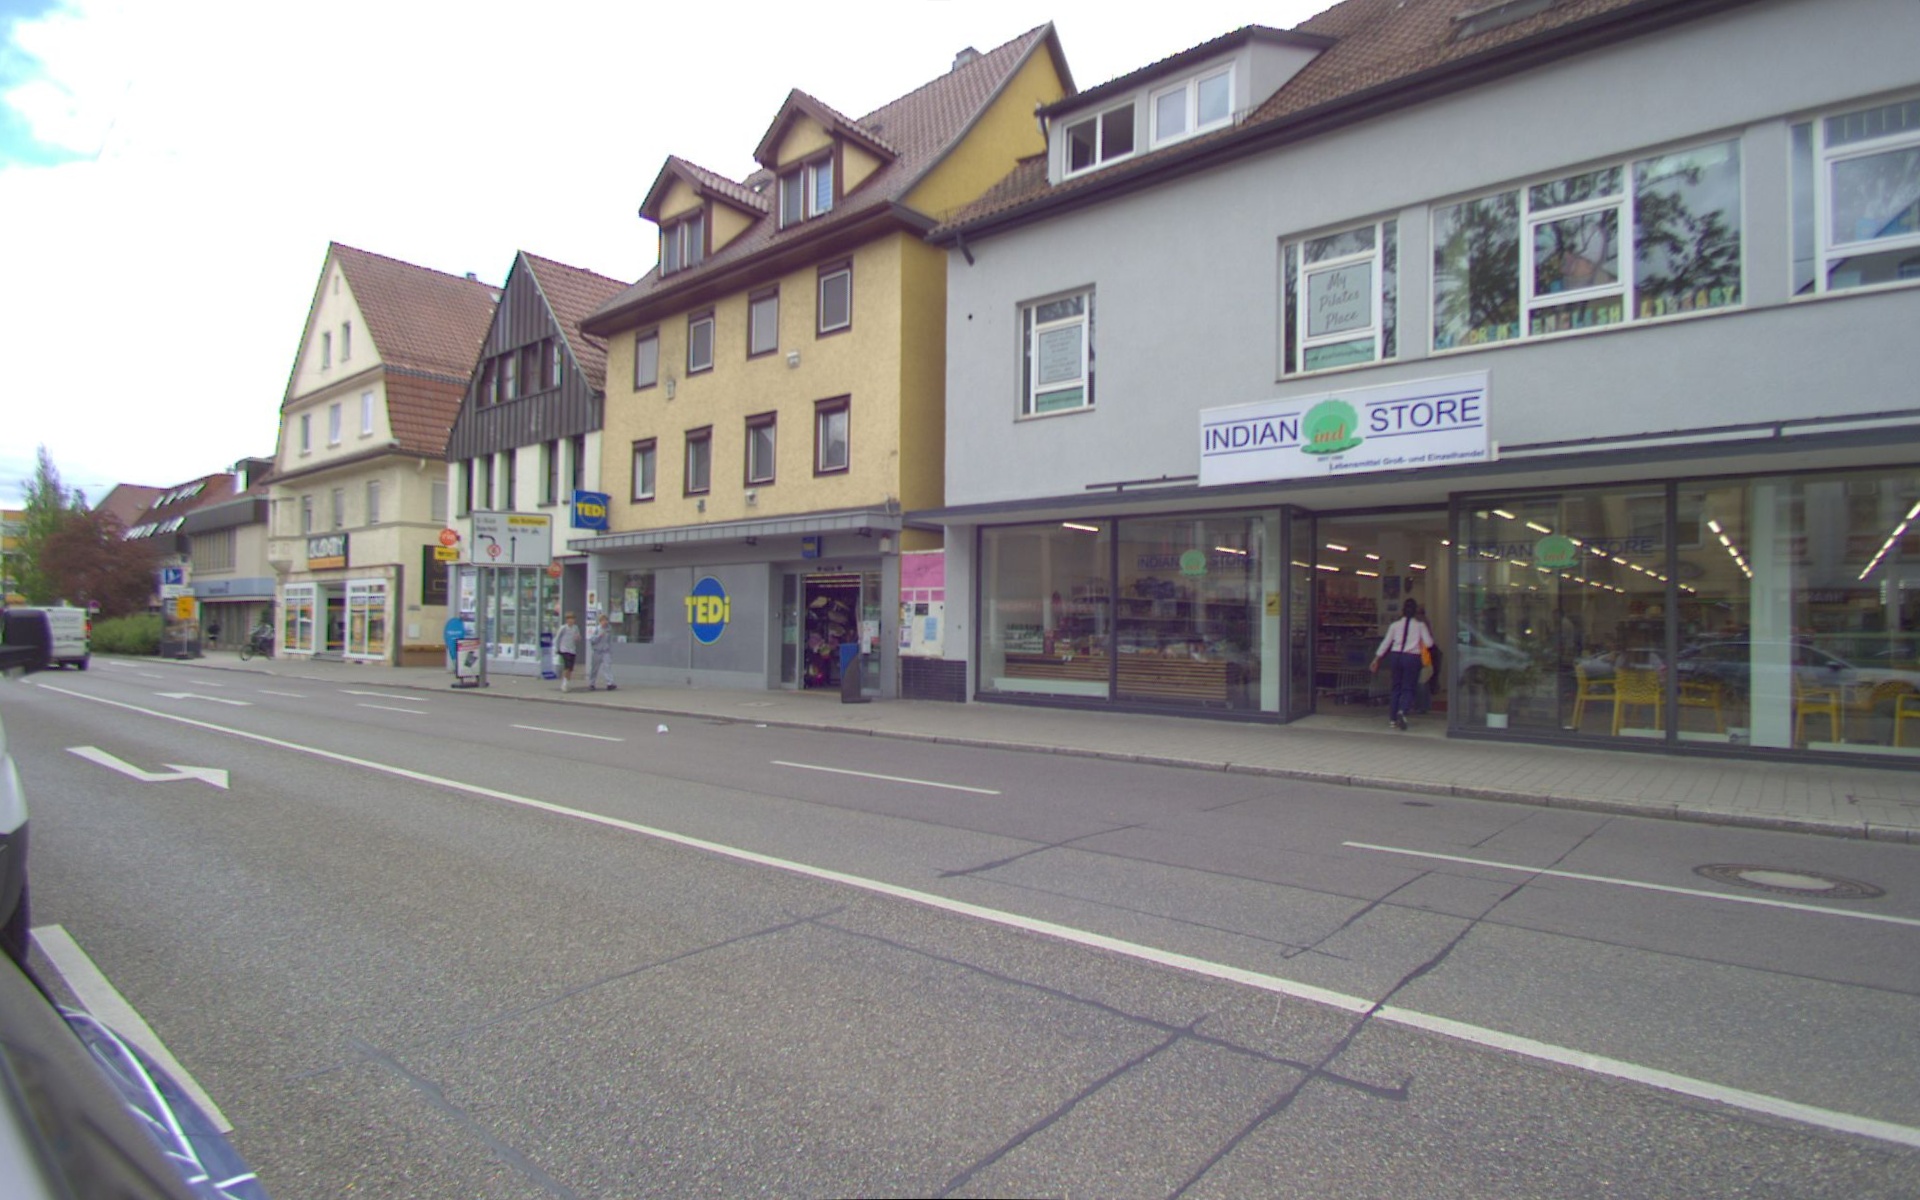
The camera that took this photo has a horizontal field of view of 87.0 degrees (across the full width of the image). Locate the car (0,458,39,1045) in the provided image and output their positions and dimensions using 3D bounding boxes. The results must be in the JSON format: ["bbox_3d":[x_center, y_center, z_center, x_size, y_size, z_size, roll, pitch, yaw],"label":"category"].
[{"bbox_3d":[-6.001,0.580,4.693,5.777,1.994,1.915,-2,0,41],"label":"car"}]

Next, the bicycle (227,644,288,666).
[{"bbox_3d":[-29.079,2.268,41.952,0.765,0.829,2.234,0,-2,8],"label":"bicycle"}]

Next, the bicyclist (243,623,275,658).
[{"bbox_3d":[-29.076,1.681,41.980,0.765,1.434,0.750,0,-2,8],"label":"bicyclist"}]

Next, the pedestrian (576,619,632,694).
[{"bbox_3d":[-7.782,1.223,22.140,0.920,1.595,0.801,-2,-2,42],"label":"pedestrian"}]

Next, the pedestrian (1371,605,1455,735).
[{"bbox_3d":[5.736,0.869,12.852,0.840,1.592,0.721,-1,-2,15],"label":"pedestrian"}]

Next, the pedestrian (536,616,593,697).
[{"bbox_3d":[-8.416,1.179,21.543,0.920,1.674,0.801,-2,-2,42],"label":"pedestrian"}]

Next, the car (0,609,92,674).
[{"bbox_3d":[-29.492,1.305,32.428,4.523,1.958,1.885,-2,-2,41],"label":"car"}]

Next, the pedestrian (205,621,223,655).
[{"bbox_3d":[-42.945,2.181,58.252,0.678,1.917,0.665,-2,-2,41],"label":"pedestrian"}]
